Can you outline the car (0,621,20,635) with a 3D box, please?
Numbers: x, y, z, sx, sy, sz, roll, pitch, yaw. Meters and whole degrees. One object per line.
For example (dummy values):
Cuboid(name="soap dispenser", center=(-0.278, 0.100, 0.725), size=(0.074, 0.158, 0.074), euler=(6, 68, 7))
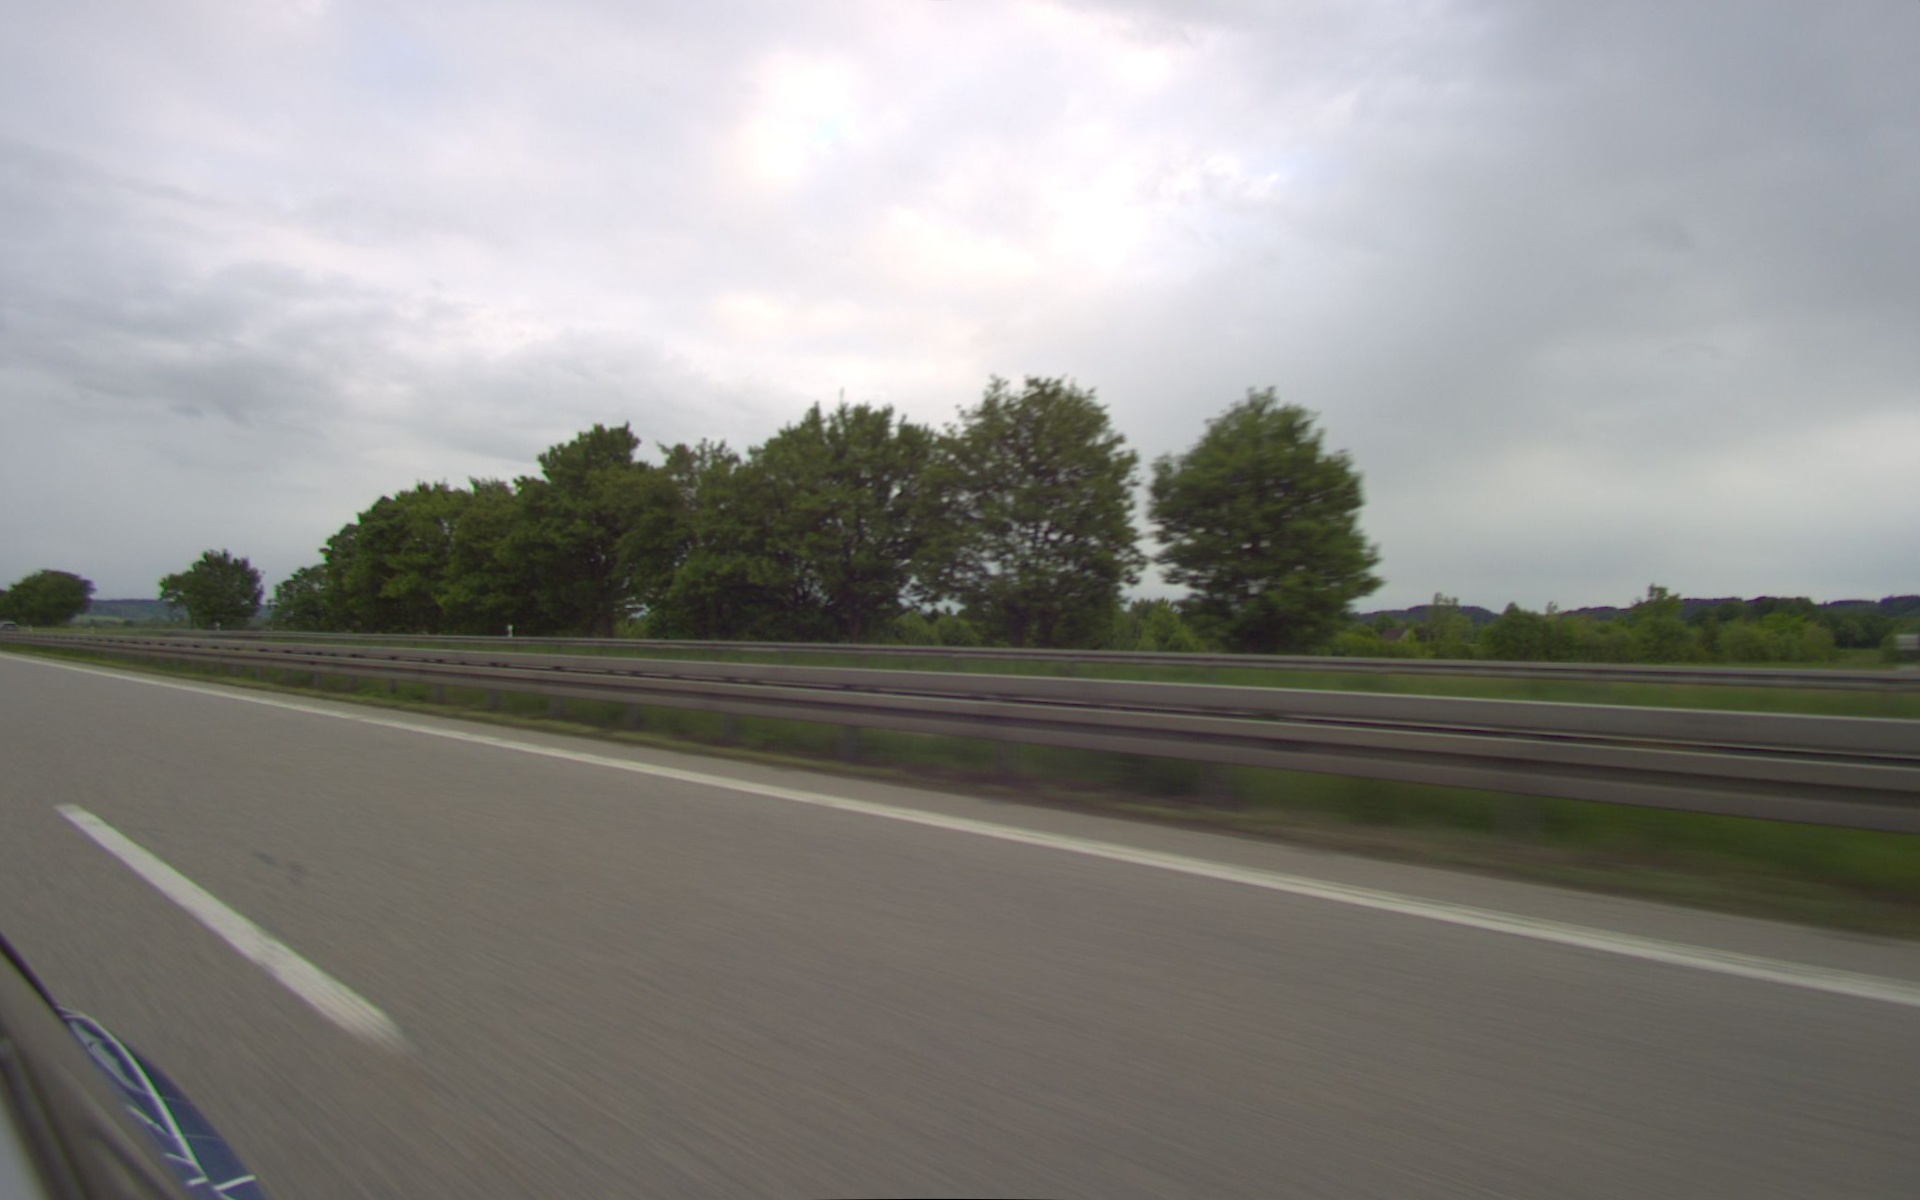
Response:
Cuboid(name="car", center=(-114.916, 3.377, 121.974), size=(4.807, 1.594, 1.973), euler=(-1, 0, 41))
